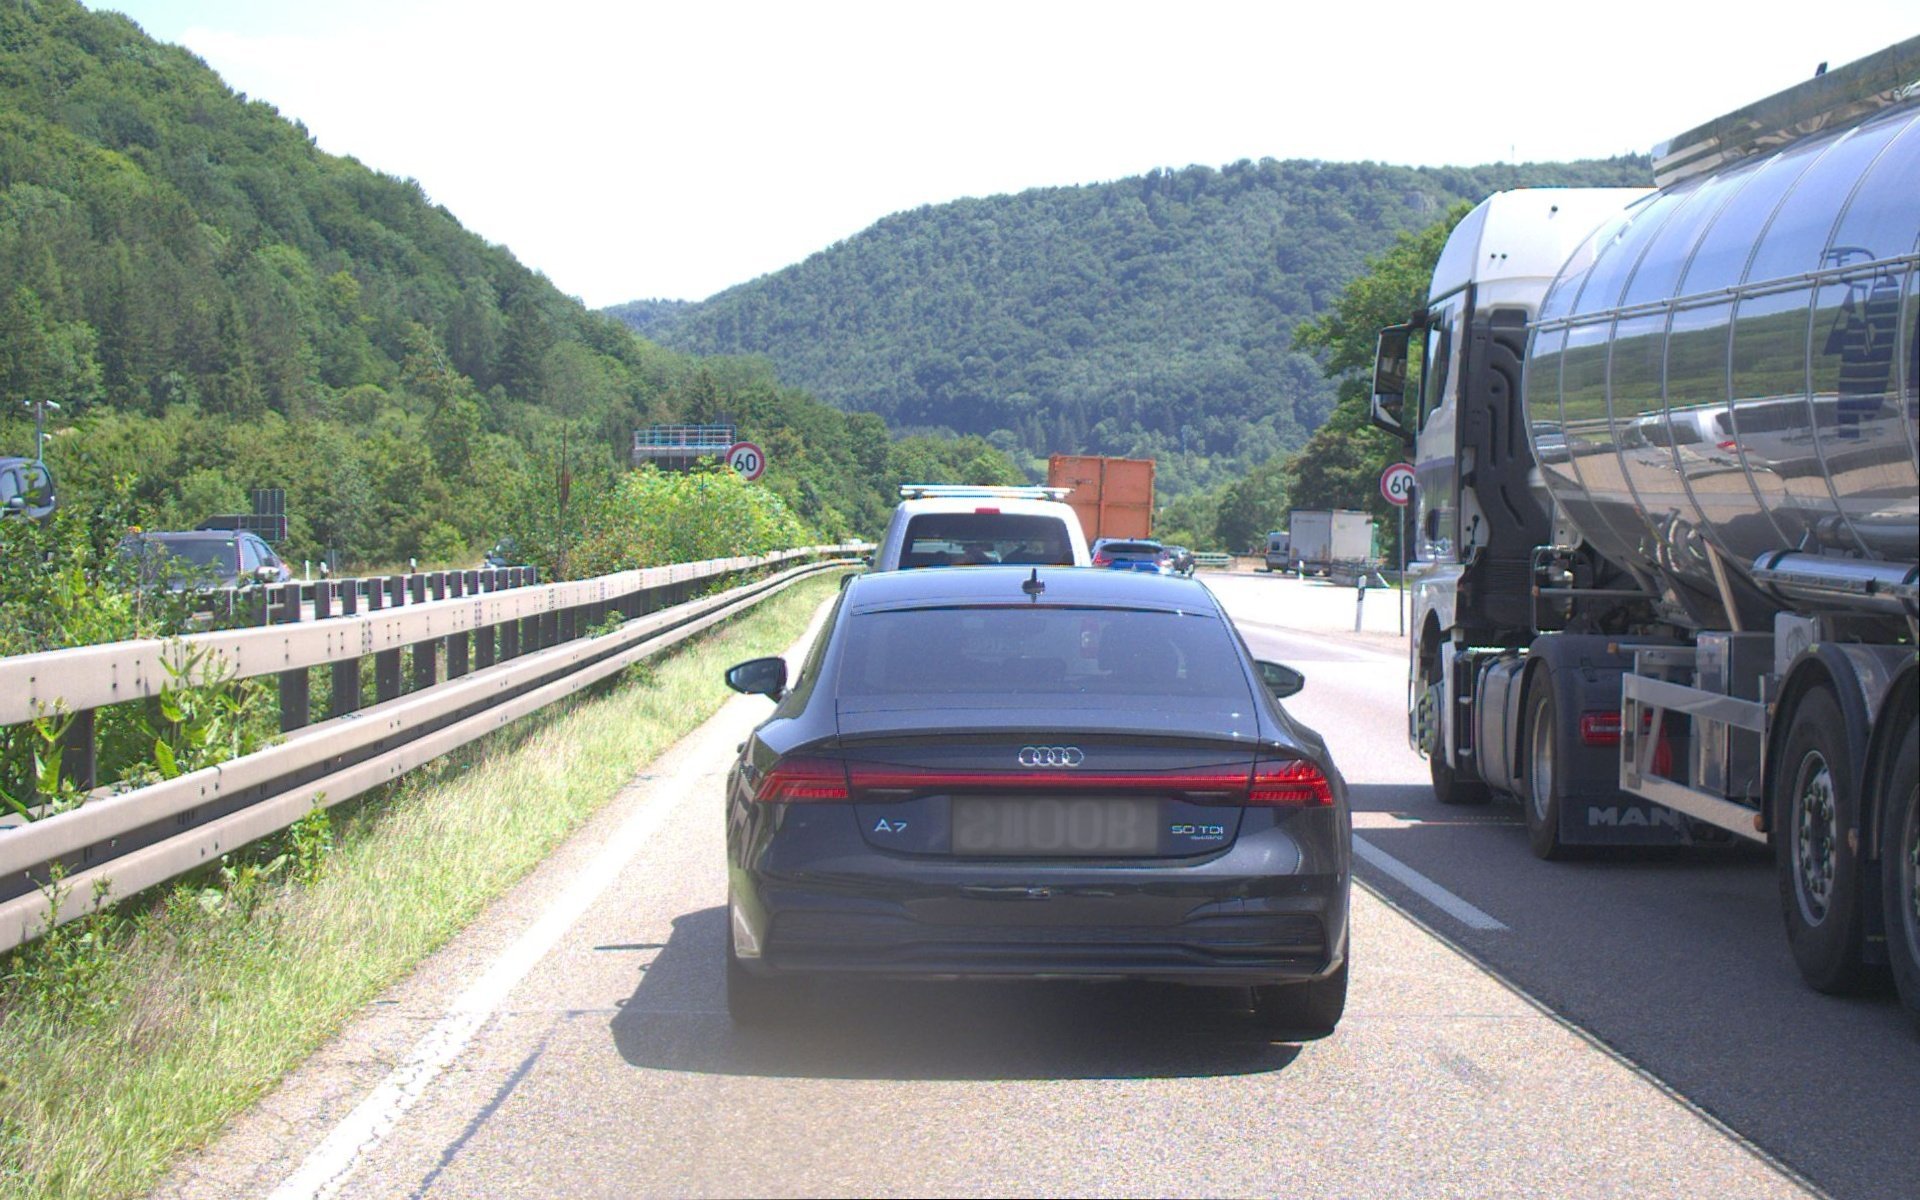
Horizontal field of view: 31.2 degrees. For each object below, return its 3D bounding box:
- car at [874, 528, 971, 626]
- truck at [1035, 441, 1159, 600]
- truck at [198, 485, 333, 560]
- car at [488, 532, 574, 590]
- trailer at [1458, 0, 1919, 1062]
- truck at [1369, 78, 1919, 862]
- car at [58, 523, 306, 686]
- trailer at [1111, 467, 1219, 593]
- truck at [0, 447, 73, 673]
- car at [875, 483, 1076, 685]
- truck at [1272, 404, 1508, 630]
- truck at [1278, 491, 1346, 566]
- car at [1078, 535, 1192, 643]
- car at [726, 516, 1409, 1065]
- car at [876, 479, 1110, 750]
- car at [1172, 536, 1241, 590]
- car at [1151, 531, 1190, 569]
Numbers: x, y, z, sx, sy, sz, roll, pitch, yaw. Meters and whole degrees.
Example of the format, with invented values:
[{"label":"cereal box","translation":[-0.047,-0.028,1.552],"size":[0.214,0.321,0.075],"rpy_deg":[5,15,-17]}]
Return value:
[{"label":"car","translation":[-0.812,-0.518,73.134],"size":[1.993,2.007,4.000],"rpy_deg":[0,1,-1]},{"label":"truck","translation":[3.622,-2.170,94.423],"size":[2.817,3.989,14.956],"rpy_deg":[1,1,0]},{"label":"truck","translation":[-25.867,-2.878,128.460],"size":[3.580,2.686,8.449],"rpy_deg":[0,1,-2]},{"label":"car","translation":[-12.230,-1.139,98.334],"size":[1.922,1.615,4.561],"rpy_deg":[0,1,0]},{"label":"trailer","translation":[4.068,-0.536,12.372],"size":[2.538,3.722,11.893],"rpy_deg":[0,1,-1]},{"label":"truck","translation":[3.916,-0.671,19.144],"size":[2.511,3.745,5.246],"rpy_deg":[0,1,-1]},{"label":"car","translation":[-8.016,0.004,35.748],"size":[1.776,1.593,4.001],"rpy_deg":[0,1,-2]},{"label":"trailer","translation":[7.377,-2.550,125.065],"size":[3.015,4.367,10.987],"rpy_deg":[0,1,-1]},{"label":"truck","translation":[-12.125,-0.463,39.289],"size":[2.295,2.579,7.969],"rpy_deg":[0,1,-3]},{"label":"car","translation":[0.128,-0.199,36.352],"size":[1.993,2.007,4.000],"rpy_deg":[0,1,-1]},{"label":"truck","translation":[8.302,-1.623,68.384],"size":[2.817,3.989,14.956],"rpy_deg":[1,1,0]},{"label":"truck","translation":[21.739,-4.385,211.620],"size":[3.794,4.399,14.951],"rpy_deg":[1,1,7]},{"label":"car","translation":[3.326,-0.241,66.023],"size":[1.993,1.996,4.000],"rpy_deg":[0,1,1]},{"label":"car","translation":[0.159,0.477,11.374],"size":[1.849,1.483,4.084],"rpy_deg":[0,1,-4]},{"label":"car","translation":[0.197,0.060,25.333],"size":[1.576,1.827,4.000],"rpy_deg":[0,1,-1]},{"label":"car","translation":[7.072,-1.086,98.920],"size":[1.747,1.525,4.000],"rpy_deg":[0,1,1]},{"label":"car","translation":[11.264,-2.710,184.242],"size":[1.994,2.007,4.000],"rpy_deg":[0,1,2]}]
